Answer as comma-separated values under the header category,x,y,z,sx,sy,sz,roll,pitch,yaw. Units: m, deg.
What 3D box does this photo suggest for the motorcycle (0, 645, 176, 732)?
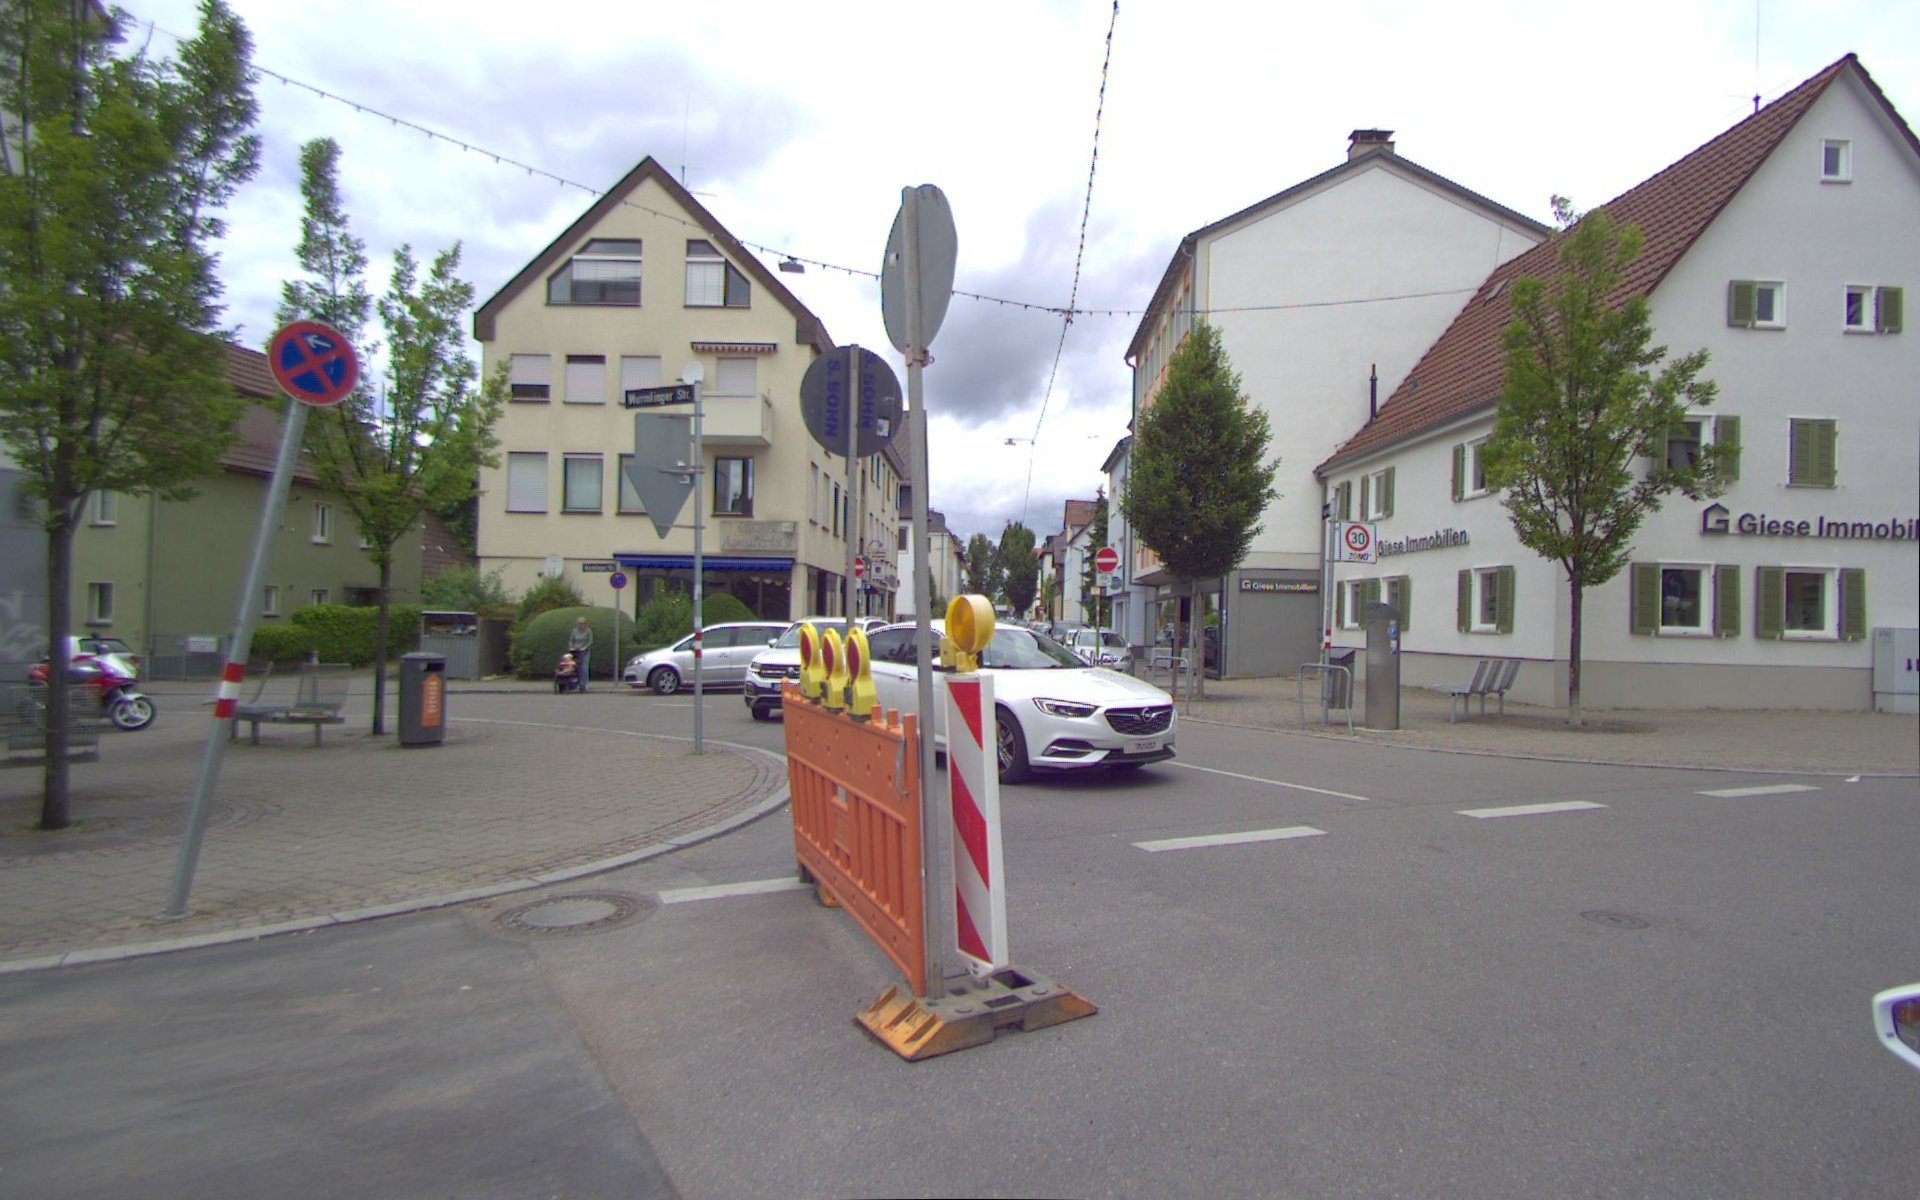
category,x,y,z,sx,sy,sz,roll,pitch,yaw
motorcycle,-11.910,1.179,13.607,1.916,1.119,0.803,0,-1,-1

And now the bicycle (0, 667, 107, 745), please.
category,x,y,z,sx,sy,sz,roll,pitch,yaw
bicycle,-11.899,1.323,12.470,2.034,0.877,0.629,-2,0,-1

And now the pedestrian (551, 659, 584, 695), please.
category,x,y,z,sx,sy,sz,roll,pitch,yaw
pedestrian,-9.010,1.759,23.052,0.563,0.810,0.454,0,-1,3

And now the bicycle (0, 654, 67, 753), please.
category,x,y,z,sx,sy,sz,roll,pitch,yaw
bicycle,-11.764,1.224,11.685,2.084,1.075,0.693,-2,0,-1

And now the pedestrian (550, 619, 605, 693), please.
category,x,y,z,sx,sy,sz,roll,pitch,yaw
pedestrian,-8.893,1.289,23.358,0.755,1.691,0.955,0,-1,16

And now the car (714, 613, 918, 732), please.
category,x,y,z,sx,sy,sz,roll,pitch,yaw
car,-2.132,1.034,16.516,1.980,1.578,4.922,1,0,8

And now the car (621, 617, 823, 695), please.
category,x,y,z,sx,sy,sz,roll,pitch,yaw
car,-5.383,1.235,22.801,4.256,1.661,1.994,1,-2,-16

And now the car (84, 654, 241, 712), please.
category,x,y,z,sx,sy,sz,roll,pitch,yaw
car,-13.741,1.421,17.362,1.890,0.954,0.981,0,-1,-3

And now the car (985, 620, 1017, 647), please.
category,x,y,z,sx,sy,sz,roll,pitch,yaw
car,2.625,2.160,64.937,1.960,1.661,4.329,0,-2,1

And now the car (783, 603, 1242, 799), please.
category,x,y,z,sx,sy,sz,roll,pitch,yaw
car,0.269,0.827,10.615,2.229,1.496,4.866,1,0,-37

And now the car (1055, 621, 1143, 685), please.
category,x,y,z,sx,sy,sz,roll,pitch,yaw
car,3.906,1.451,28.996,1.981,1.578,4.920,1,0,2
